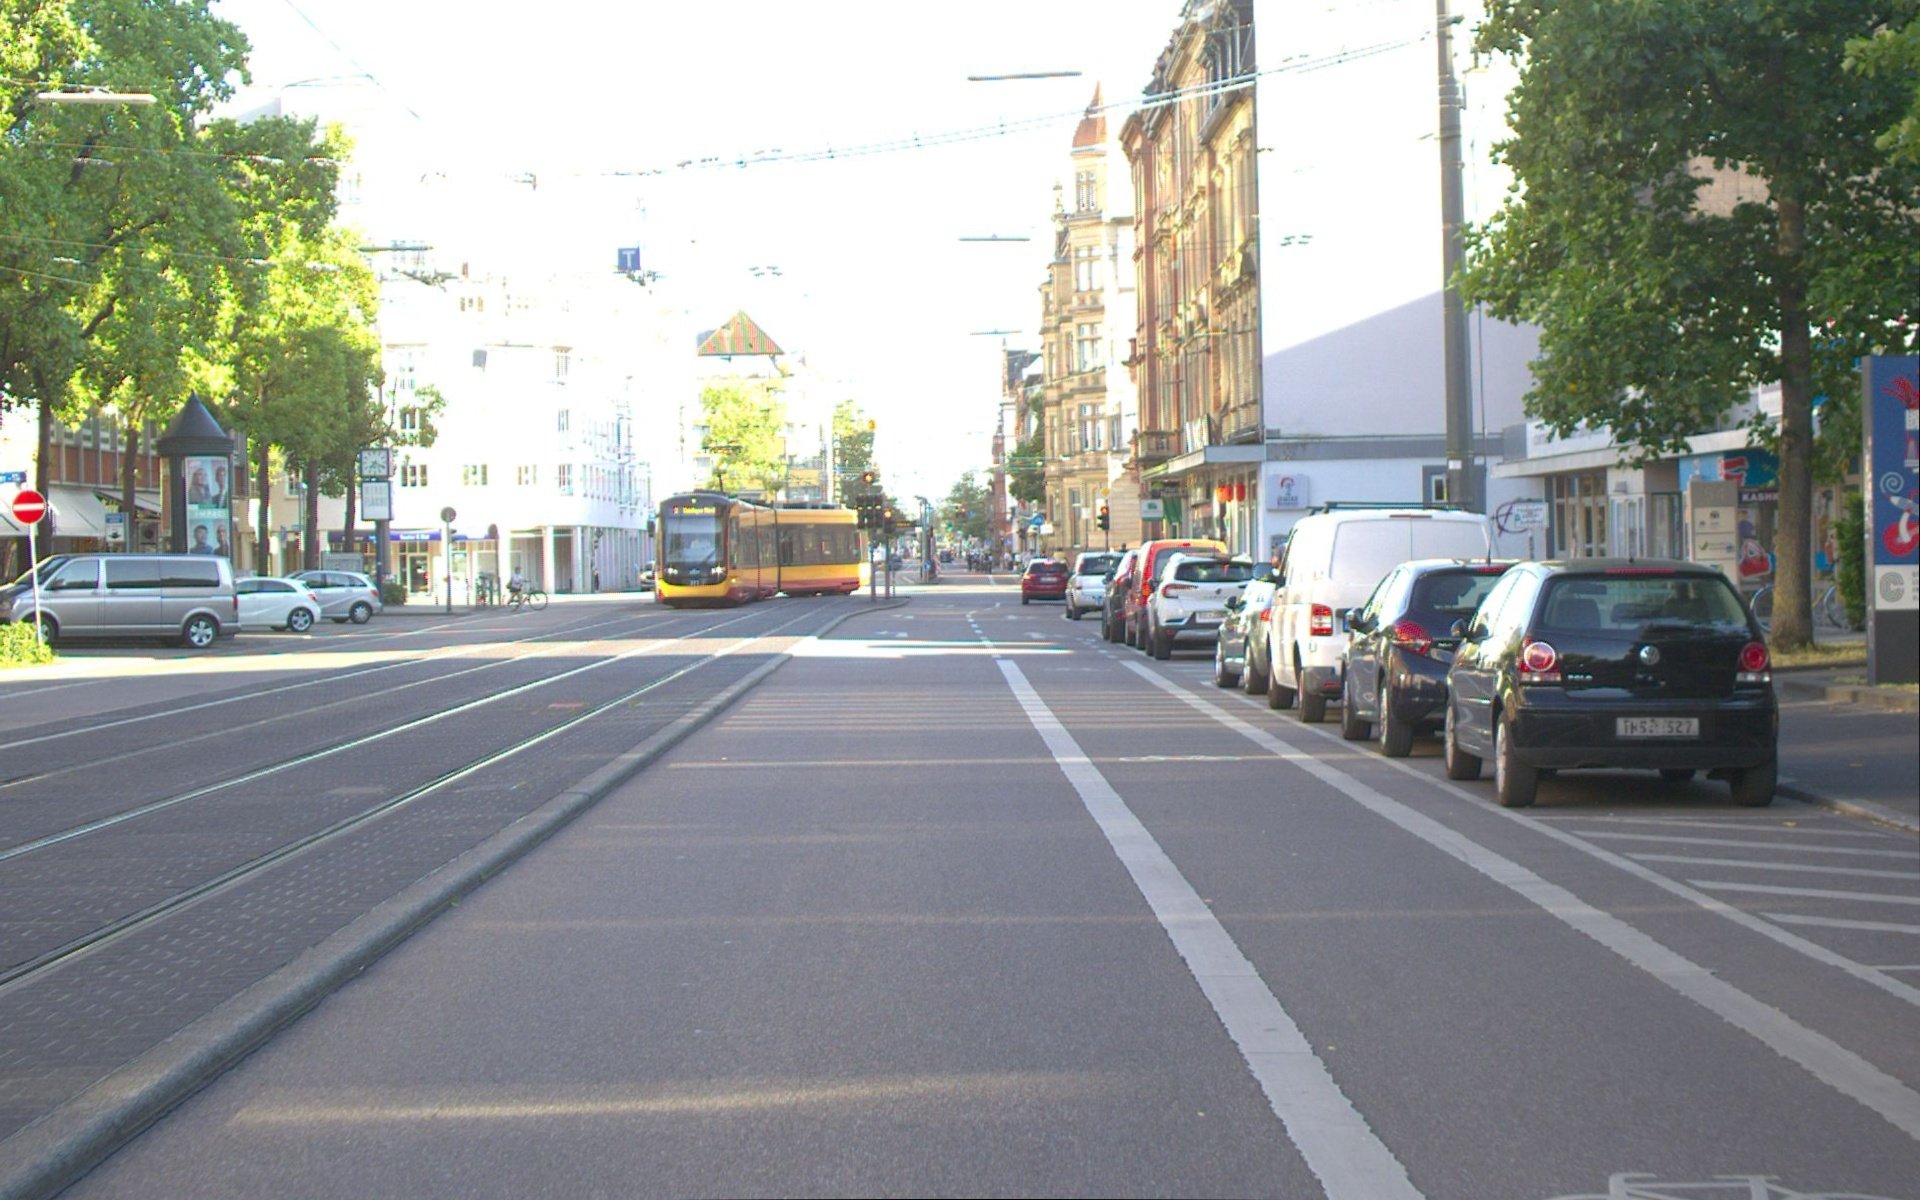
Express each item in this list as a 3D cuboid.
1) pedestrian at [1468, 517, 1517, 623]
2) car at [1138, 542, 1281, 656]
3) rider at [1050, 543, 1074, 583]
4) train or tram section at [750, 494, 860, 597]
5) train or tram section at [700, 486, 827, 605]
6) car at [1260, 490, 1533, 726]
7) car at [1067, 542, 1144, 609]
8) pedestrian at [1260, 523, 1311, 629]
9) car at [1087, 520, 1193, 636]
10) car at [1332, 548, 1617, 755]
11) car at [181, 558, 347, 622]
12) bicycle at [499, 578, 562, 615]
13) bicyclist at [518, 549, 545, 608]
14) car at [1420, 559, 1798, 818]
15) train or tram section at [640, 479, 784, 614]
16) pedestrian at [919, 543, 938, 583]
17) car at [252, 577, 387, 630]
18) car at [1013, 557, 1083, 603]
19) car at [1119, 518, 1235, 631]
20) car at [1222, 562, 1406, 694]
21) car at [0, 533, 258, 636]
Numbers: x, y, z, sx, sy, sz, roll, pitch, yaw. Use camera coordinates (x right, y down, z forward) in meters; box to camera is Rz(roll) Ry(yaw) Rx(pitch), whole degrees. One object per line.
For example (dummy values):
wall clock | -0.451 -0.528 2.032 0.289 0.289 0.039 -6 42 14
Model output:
pedestrian | 8.718 -0.493 56.292 0.661 1.716 0.835 -1 1 1
car | 3.684 -0.045 51.326 1.723 1.562 4.083 -2 1 -1
rider | 3.812 -1.388 128.293 0.710 1.476 0.887 0 1 -11
train or tram section | -5.852 -2.089 131.700 2.692 3.739 11.287 1 1 5
train or tram section | -6.722 -1.915 119.737 2.692 3.865 12.842 1 1 4
car | 4.062 0.021 32.710 1.971 2.007 4.558 -2 1 1
car | 3.533 -0.620 84.088 1.621 1.550 4.083 1 1 -1
pedestrian | 5.360 -0.394 56.641 0.730 1.716 0.835 -1 1 1
car | 3.199 -0.428 61.679 1.621 2.000 3.831 1 1 -1
car | 3.941 0.345 26.886 1.621 1.468 3.971 0 1 0
car | -18.227 -0.269 90.058 3.869 1.622 1.876 0 1 -31
bicycle | -14.934 -0.137 119.523 2.020 1.235 0.700 1 1 7
bicyclist | -14.892 -0.753 119.499 0.722 2.007 0.700 1 1 7
car | 3.970 0.484 21.610 1.621 1.427 3.985 -1 1 0
train or tram section | -7.611 -1.683 107.270 2.692 3.946 12.089 1 1 4
pedestrian | -1.607 -1.896 174.010 0.920 2.007 0.759 1 1 0
car | -18.688 0.093 100.335 3.519 1.476 1.582 0 1 -32
car | 2.821 -0.663 111.057 2.065 1.384 4.225 1 1 -1
car | 3.597 -0.451 57.563 1.621 1.807 4.083 1 1 -1
car | 3.964 0.281 39.019 1.621 1.366 3.931 1 1 -1
car | -17.400 -0.281 70.771 5.252 2.036 2.419 0 -1 -32
